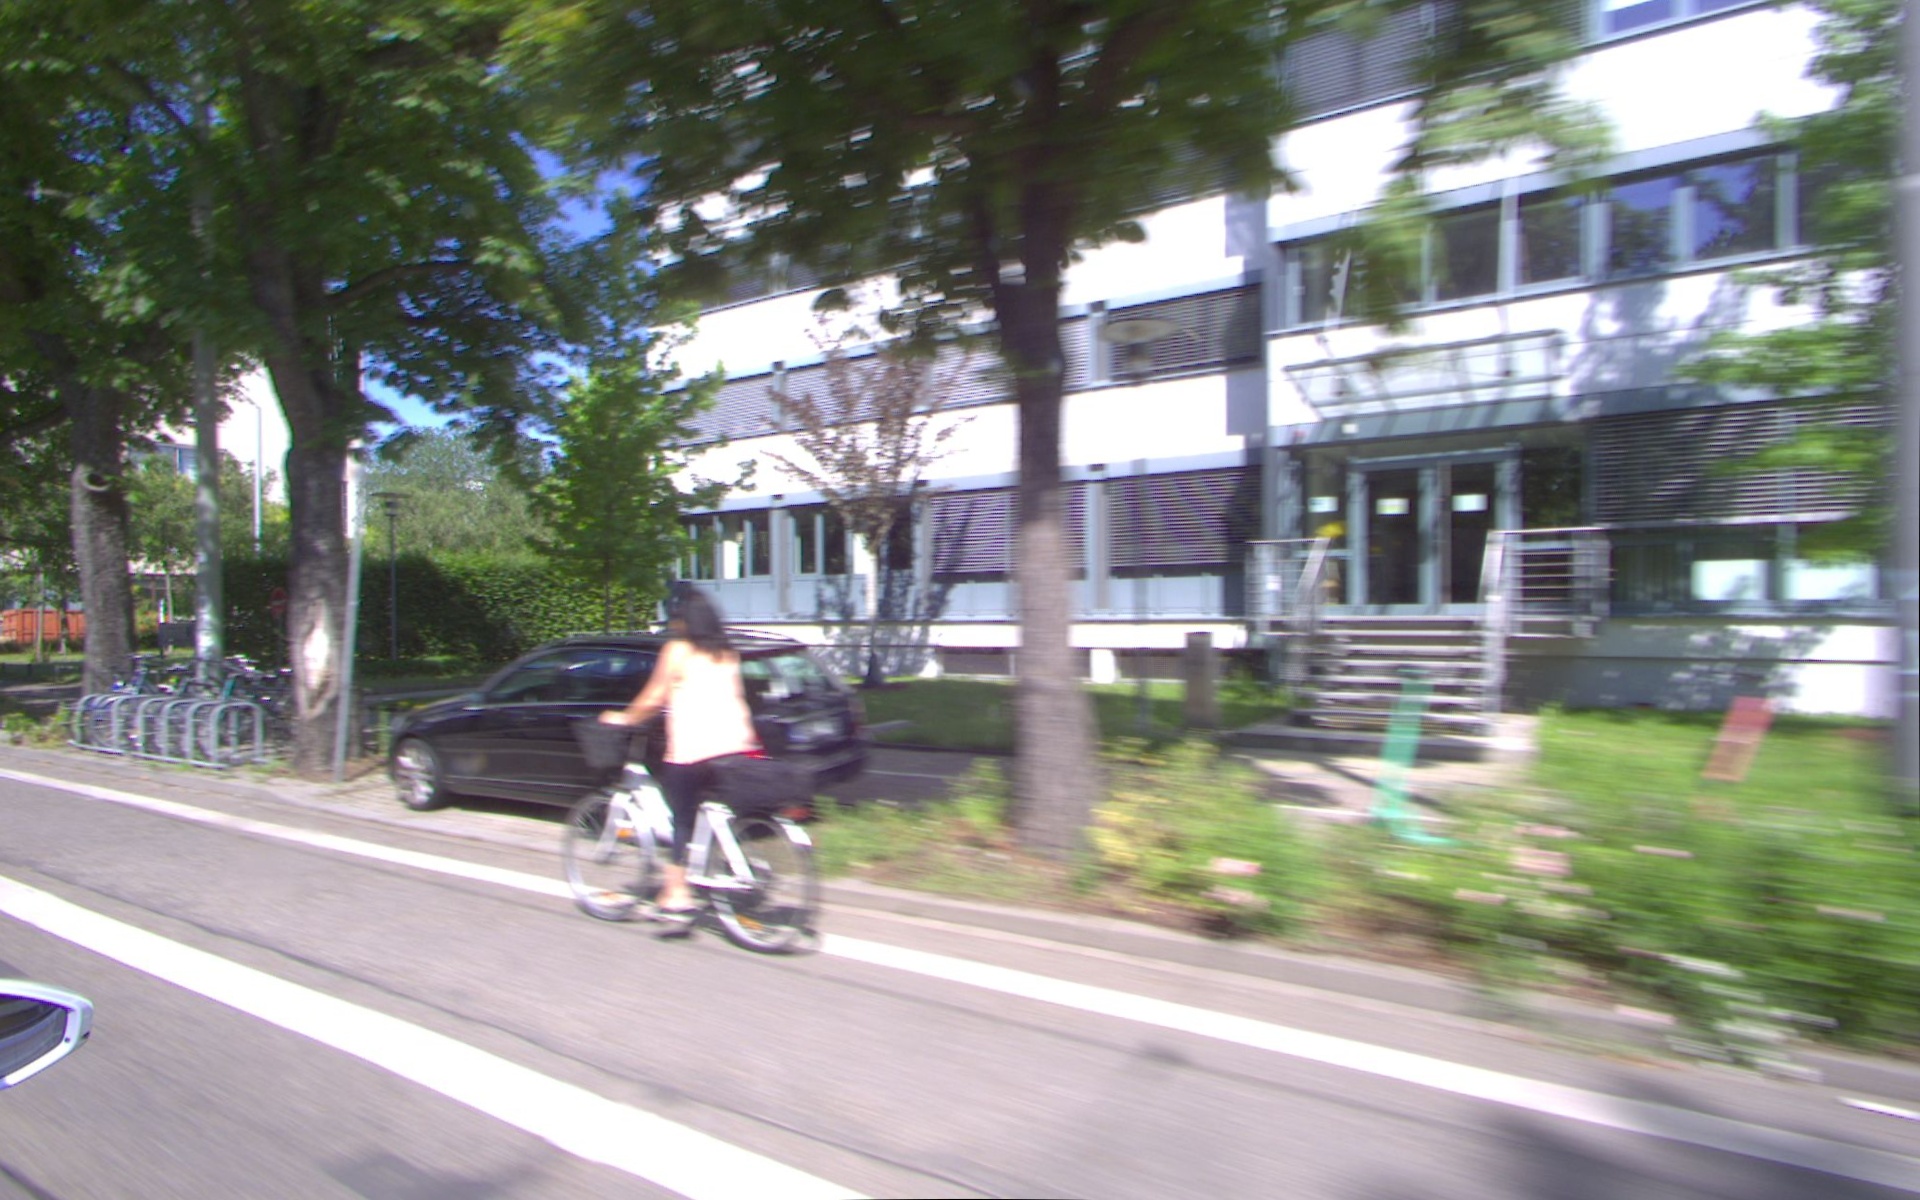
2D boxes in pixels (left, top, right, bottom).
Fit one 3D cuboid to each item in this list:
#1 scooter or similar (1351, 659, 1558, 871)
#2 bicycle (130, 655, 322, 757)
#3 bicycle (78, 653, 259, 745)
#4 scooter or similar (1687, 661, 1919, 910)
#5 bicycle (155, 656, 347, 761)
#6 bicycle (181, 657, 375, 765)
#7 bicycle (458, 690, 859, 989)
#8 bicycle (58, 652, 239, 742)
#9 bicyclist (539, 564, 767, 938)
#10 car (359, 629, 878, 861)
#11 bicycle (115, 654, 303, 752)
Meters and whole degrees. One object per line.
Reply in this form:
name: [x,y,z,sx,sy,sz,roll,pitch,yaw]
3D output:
scooter or similar: [2.942,0.943,5.988,1.075,1.142,0.378,-1,0,30]
bicycle: [-8.565,1.203,11.772,0.480,1.023,1.786,0,0,27]
bicycle: [-10.079,1.224,12.832,0.480,1.023,1.786,0,0,27]
scooter or similar: [4.456,0.917,5.143,1.126,1.170,0.386,-1,0,30]
bicycle: [-8.071,1.199,11.491,0.480,1.023,1.786,0,0,27]
bicycle: [-7.568,1.196,11.211,0.480,1.023,1.786,0,0,27]
bicycle: [-1.523,1.048,4.931,1.983,1.092,0.809,-1,-1,33]
bicycle: [-10.532,1.227,13.072,0.480,1.023,1.786,0,0,27]
bicyclist: [-1.499,0.674,4.938,0.727,1.650,0.784,0,0,32]
car: [-3.009,0.992,8.422,4.567,1.463,1.661,-1,-1,33]
bicycle: [-9.031,1.206,12.126,0.480,1.023,1.786,0,0,27]
